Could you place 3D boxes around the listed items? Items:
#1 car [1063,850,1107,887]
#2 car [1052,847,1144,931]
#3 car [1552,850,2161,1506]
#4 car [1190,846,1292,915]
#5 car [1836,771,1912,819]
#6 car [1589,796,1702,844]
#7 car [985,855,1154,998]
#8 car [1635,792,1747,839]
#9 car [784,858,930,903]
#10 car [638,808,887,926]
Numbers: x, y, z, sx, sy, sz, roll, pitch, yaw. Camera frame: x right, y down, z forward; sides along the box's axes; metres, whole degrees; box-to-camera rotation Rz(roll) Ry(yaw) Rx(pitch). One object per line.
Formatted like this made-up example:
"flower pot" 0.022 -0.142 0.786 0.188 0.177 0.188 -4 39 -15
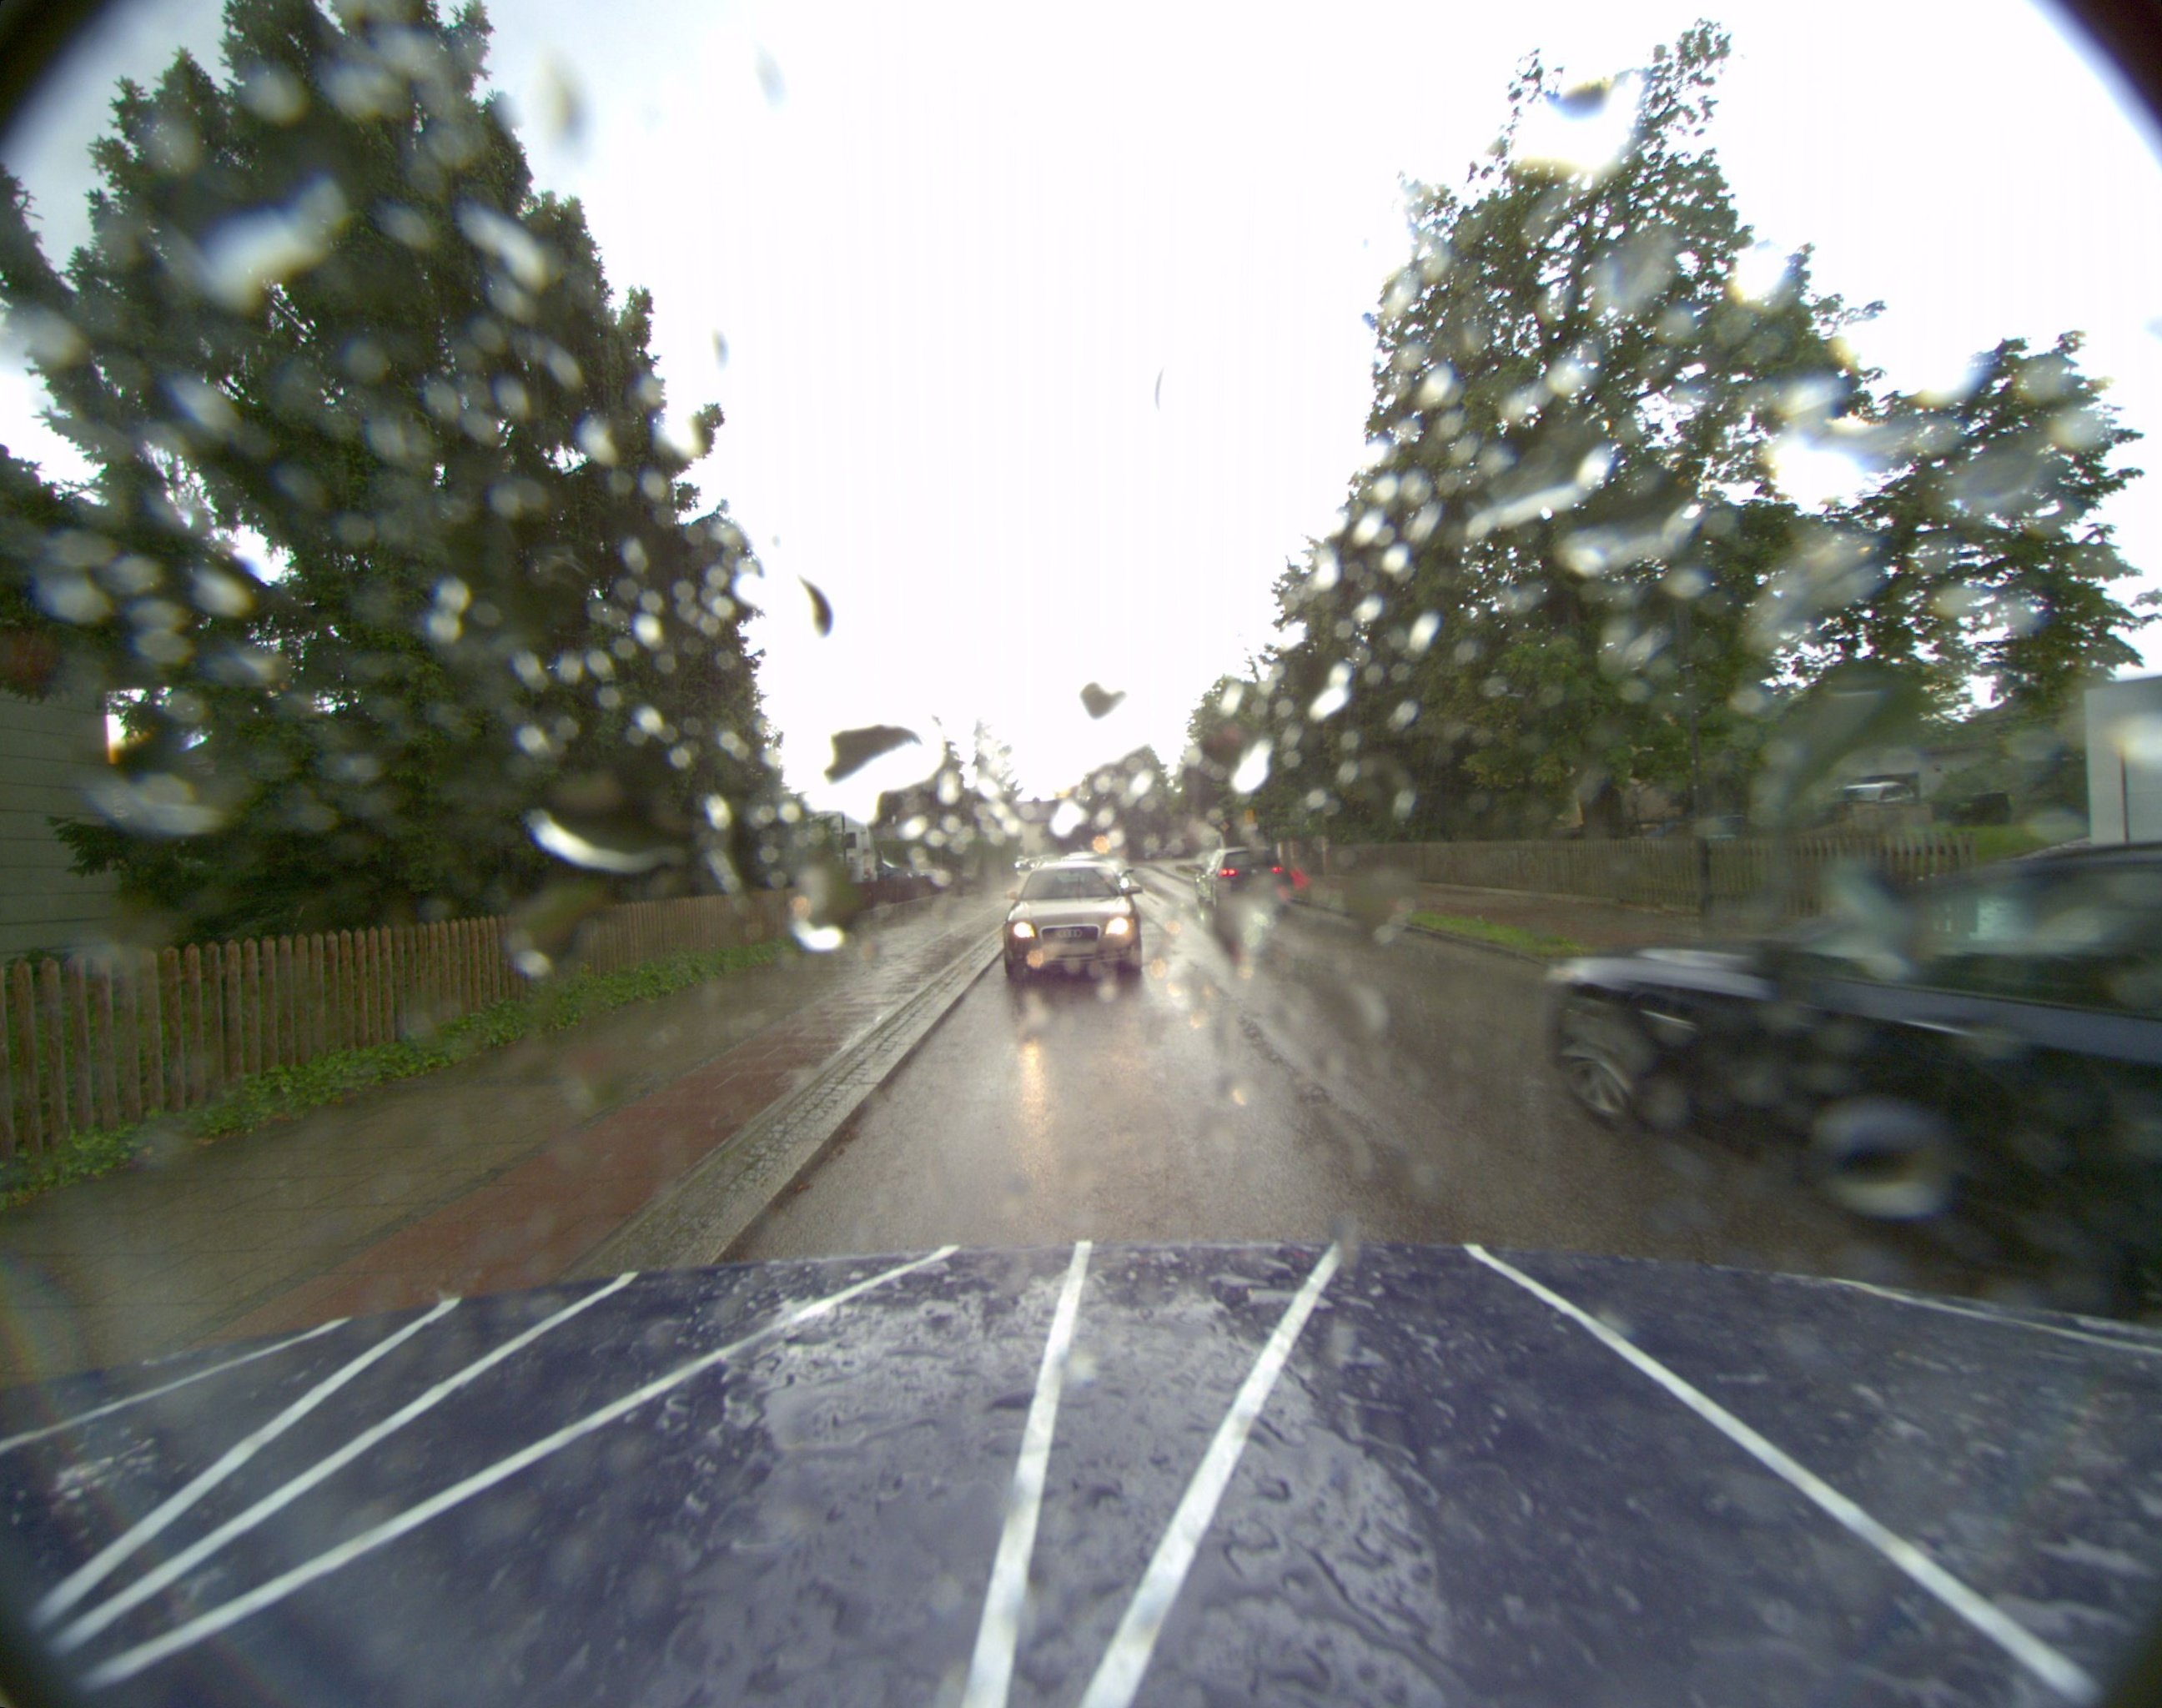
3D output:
"car" 0.212 0.634 36.850 1.872 1.512 4.960 -4 1 1
"car" 0.401 0.741 19.019 1.872 1.603 4.960 -4 1 1
"car" 3.438 0.782 1.858 1.785 1.457 4.374 -4 1 0
"car" 3.929 0.576 19.265 1.712 1.457 4.000 -4 1 1
"car" 40.671 -2.997 38.959 3.857 2.281 1.782 -3 1 -29
"car" 26.010 -1.543 35.090 1.845 1.792 3.649 -6 0 -33
"car" -0.105 0.843 10.841 1.872 1.512 4.188 -3 1 1
"car" 28.890 -1.804 36.058 1.845 1.792 3.649 -6 0 -33
"car" -7.383 0.860 25.452 4.443 1.413 1.829 0 1 -7
"car" -7.628 0.281 18.761 5.321 2.712 1.998 0 1 -9
